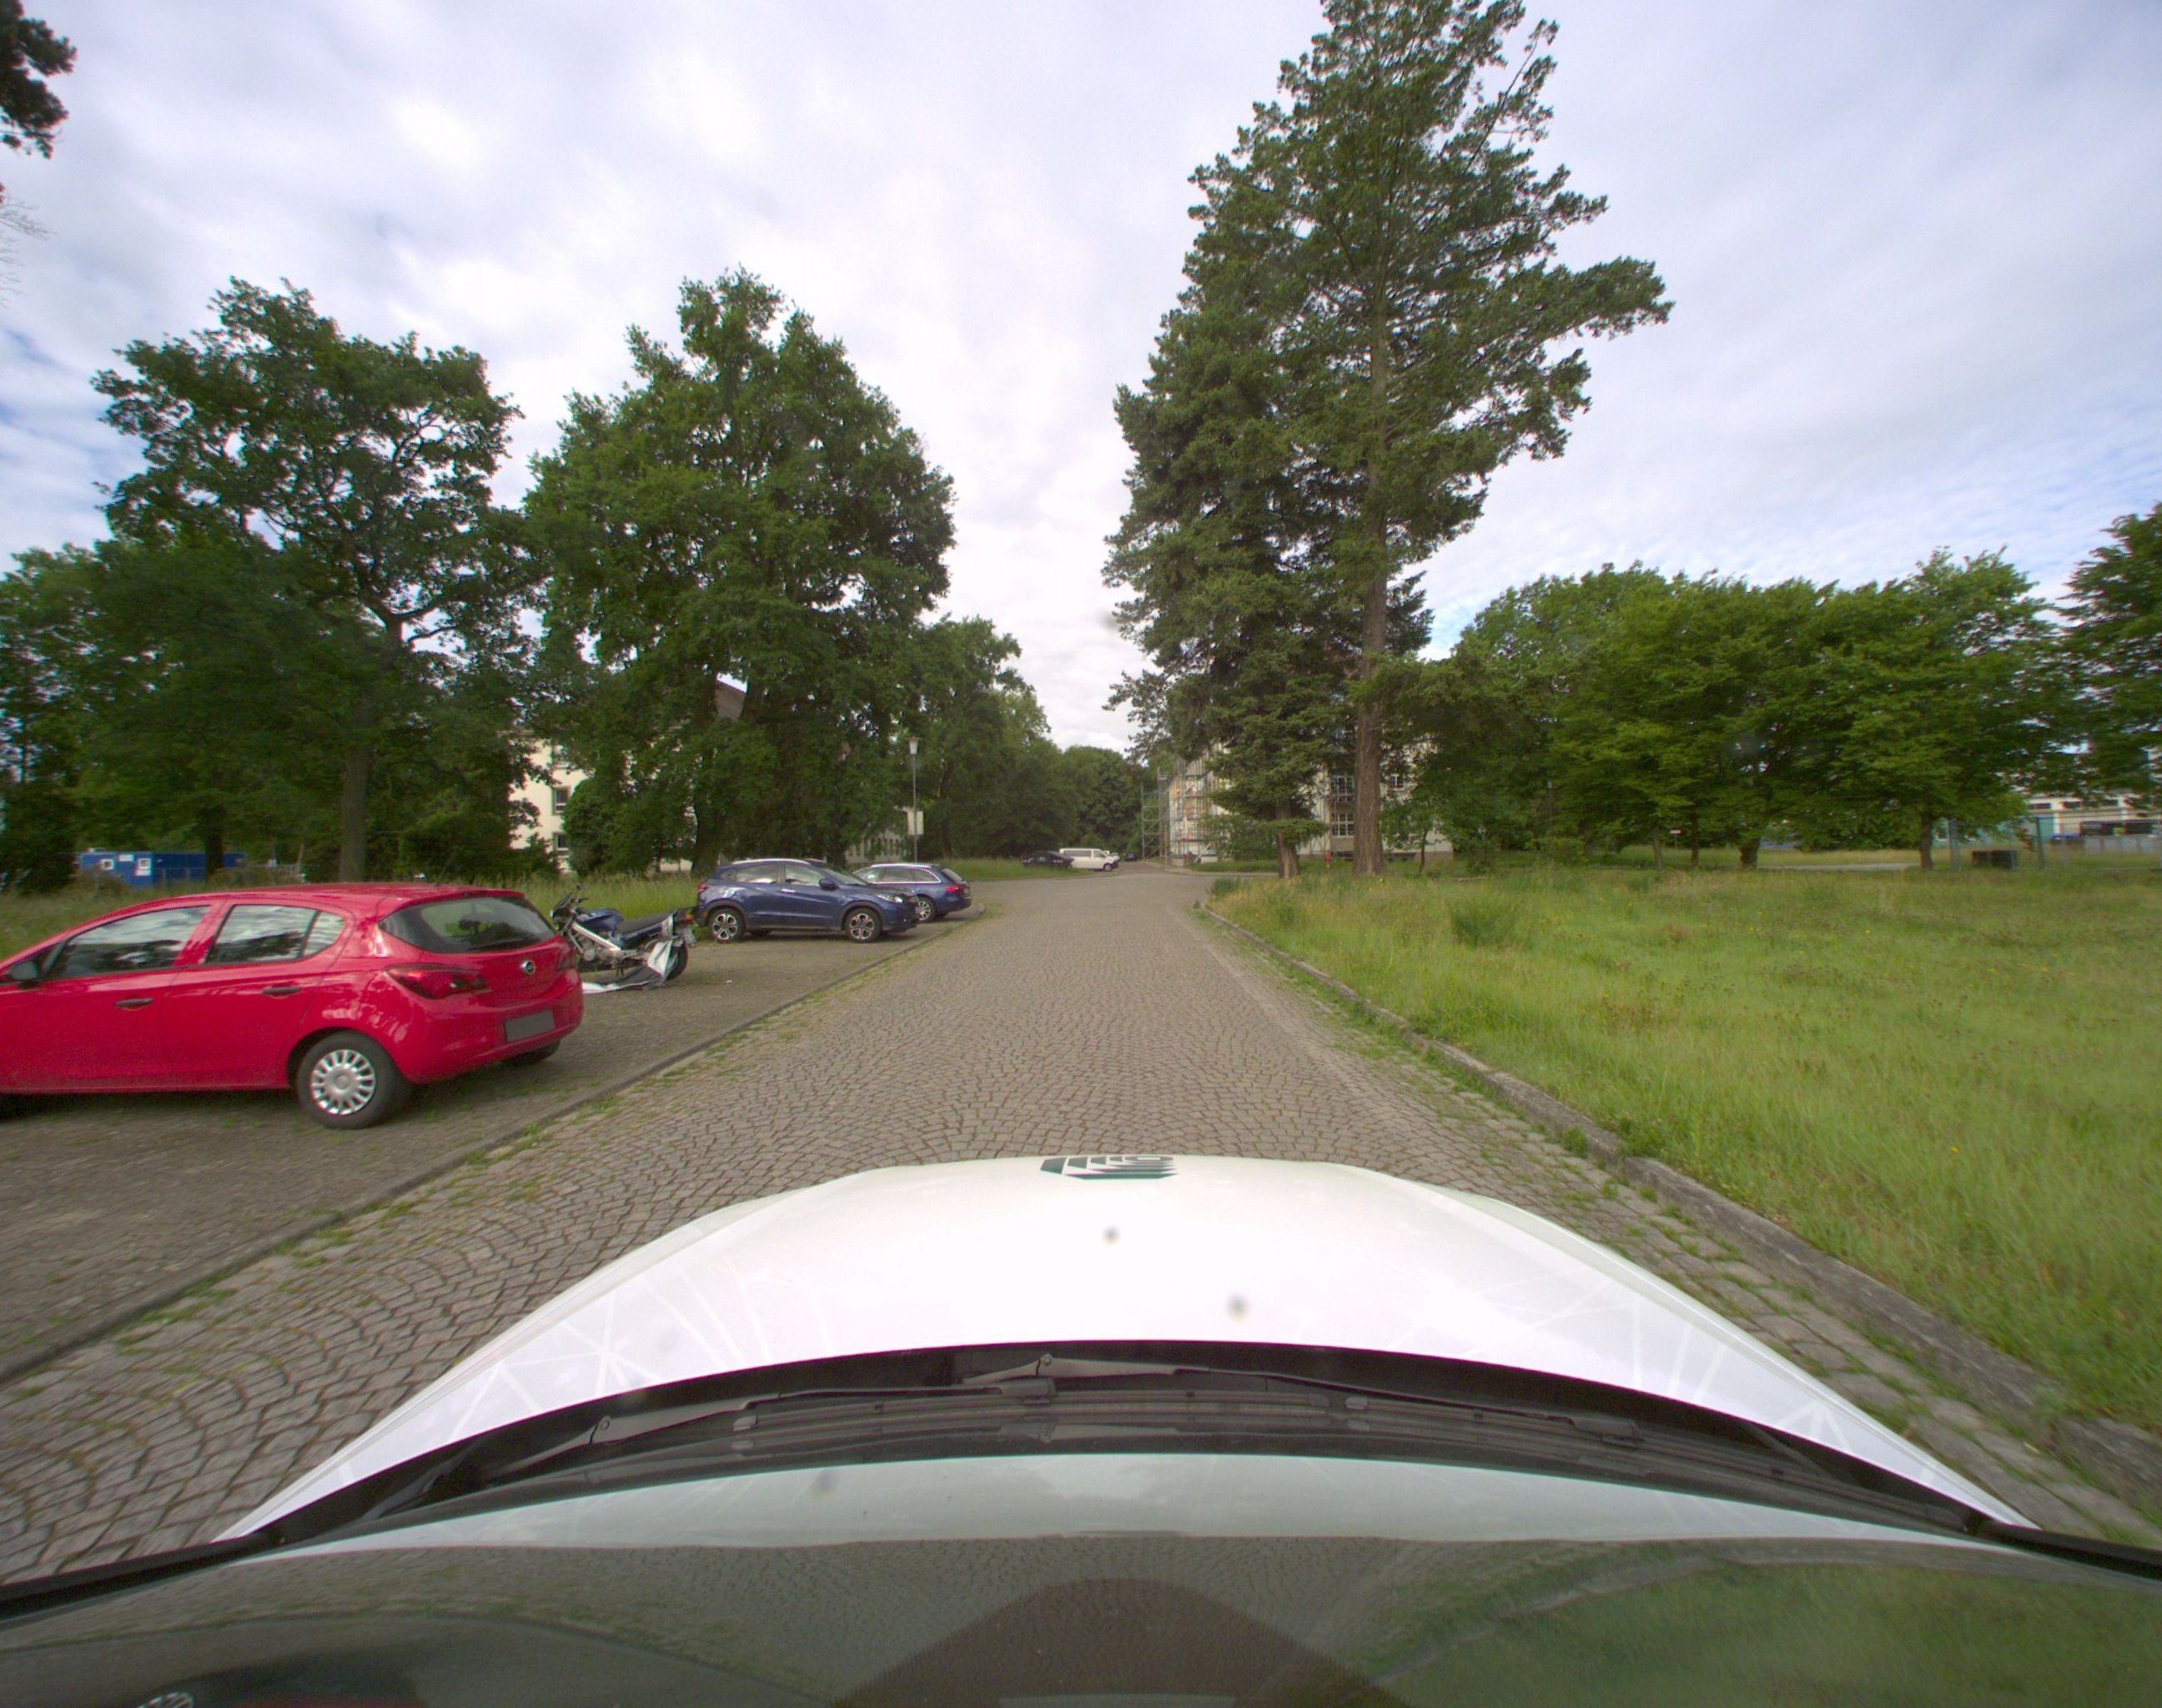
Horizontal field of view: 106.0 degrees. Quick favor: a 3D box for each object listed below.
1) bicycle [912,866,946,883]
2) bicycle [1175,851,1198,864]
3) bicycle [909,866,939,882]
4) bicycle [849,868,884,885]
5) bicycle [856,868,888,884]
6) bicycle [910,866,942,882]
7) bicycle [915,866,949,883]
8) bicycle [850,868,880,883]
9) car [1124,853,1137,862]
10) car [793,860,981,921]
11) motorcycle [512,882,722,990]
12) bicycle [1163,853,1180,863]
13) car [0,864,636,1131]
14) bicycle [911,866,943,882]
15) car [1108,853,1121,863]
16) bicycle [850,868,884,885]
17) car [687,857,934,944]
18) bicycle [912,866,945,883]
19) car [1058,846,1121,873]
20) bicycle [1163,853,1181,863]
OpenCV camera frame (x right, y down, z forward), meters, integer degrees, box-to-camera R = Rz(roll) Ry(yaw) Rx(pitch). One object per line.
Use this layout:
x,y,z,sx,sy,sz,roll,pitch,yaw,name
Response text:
-9.205,1.248,49.440,1.963,0.989,0.623,-1,0,-19,bicycle
10.679,0.370,82.295,2.230,1.254,0.778,-1,0,4,bicycle
-10.721,1.349,55.584,1.965,0.989,0.622,-1,0,-21,bicycle
-13.129,1.361,49.806,1.967,0.989,0.622,-1,0,-25,bicycle
-13.691,1.412,53.368,1.957,0.989,0.625,-1,0,-9,bicycle
-10.247,1.319,53.875,1.965,0.989,0.622,-1,0,-21,bicycle
-9.156,1.252,50.063,1.965,0.989,0.622,-1,0,-21,bicycle
-14.780,1.464,55.832,1.961,0.989,0.624,-1,0,-15,bicycle
8.187,0.555,135.729,1.944,1.521,4.000,-1,0,1,car
-4.863,0.907,20.852,4.285,1.461,1.977,0,0,3,car
-5.869,1.015,10.375,2.265,1.291,0.719,0,0,2,motorcycle
11.906,0.577,107.248,2.230,1.254,0.699,-1,0,4,bicycle
-5.792,0.896,5.895,4.041,1.525,1.905,-1,0,0,car
-10.090,1.310,53.289,1.965,0.989,0.622,-1,0,-21,bicycle
5.510,0.628,135.500,2.111,1.521,4.001,-1,0,1,car
-13.241,1.369,50.298,1.965,0.989,0.622,-1,0,-21,bicycle
-5.194,0.865,16.065,4.214,1.577,1.887,0,0,0,car
-9.575,1.274,51.046,1.965,0.989,0.622,-1,0,-21,bicycle
0.725,0.486,69.573,5.218,2.168,1.999,-1,0,-1,car
11.831,0.567,105.851,2.230,1.254,0.627,-1,0,4,bicycle
